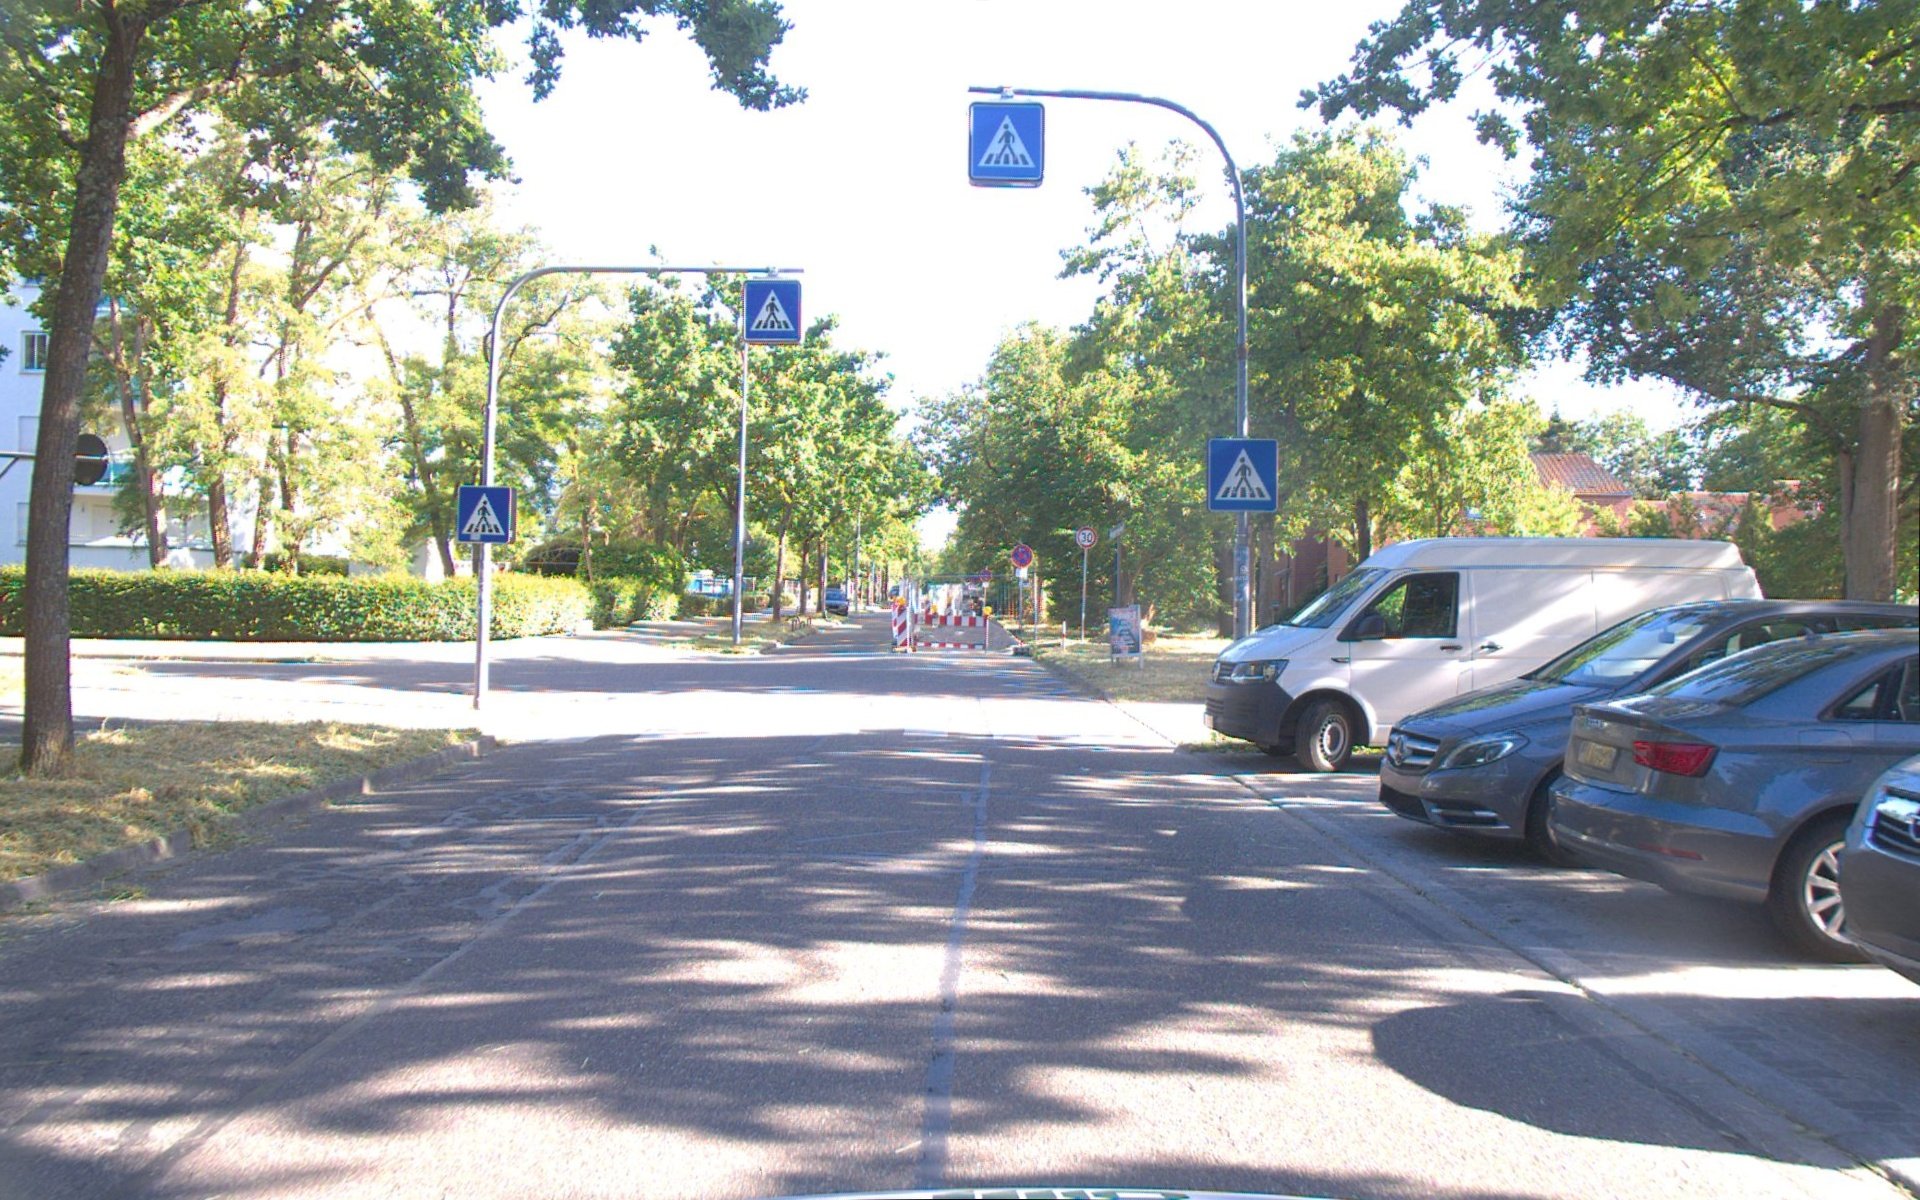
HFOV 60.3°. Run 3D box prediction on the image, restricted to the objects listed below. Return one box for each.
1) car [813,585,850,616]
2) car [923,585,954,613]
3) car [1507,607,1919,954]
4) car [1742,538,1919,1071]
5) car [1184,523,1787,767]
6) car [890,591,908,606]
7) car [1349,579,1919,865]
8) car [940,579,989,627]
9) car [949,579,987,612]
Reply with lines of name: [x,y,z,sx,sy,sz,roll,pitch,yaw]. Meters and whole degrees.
car: [-7.615,0.012,98.400,1.953,1.746,3.999,2,0,-1]
car: [-1.403,-0.041,108.157,1.953,1.746,3.999,2,0,-1]
car: [4.916,0.794,8.020,3.905,1.458,1.901,1,0,1]
car: [5.154,0.610,5.446,4.296,1.680,1.850,-1,0,-3]
car: [4.840,0.412,15.751,5.083,2.142,2.081,0,0,-3]
car: [-6.859,-0.172,186.044,1.953,1.746,3.999,1,0,-1]
car: [4.814,0.728,10.589,4.128,1.596,1.932,1,0,-3]
car: [0.164,0.112,72.004,1.953,1.966,3.999,2,0,-1]
car: [0.443,-0.226,92.439,1.953,1.746,3.999,2,0,-1]
